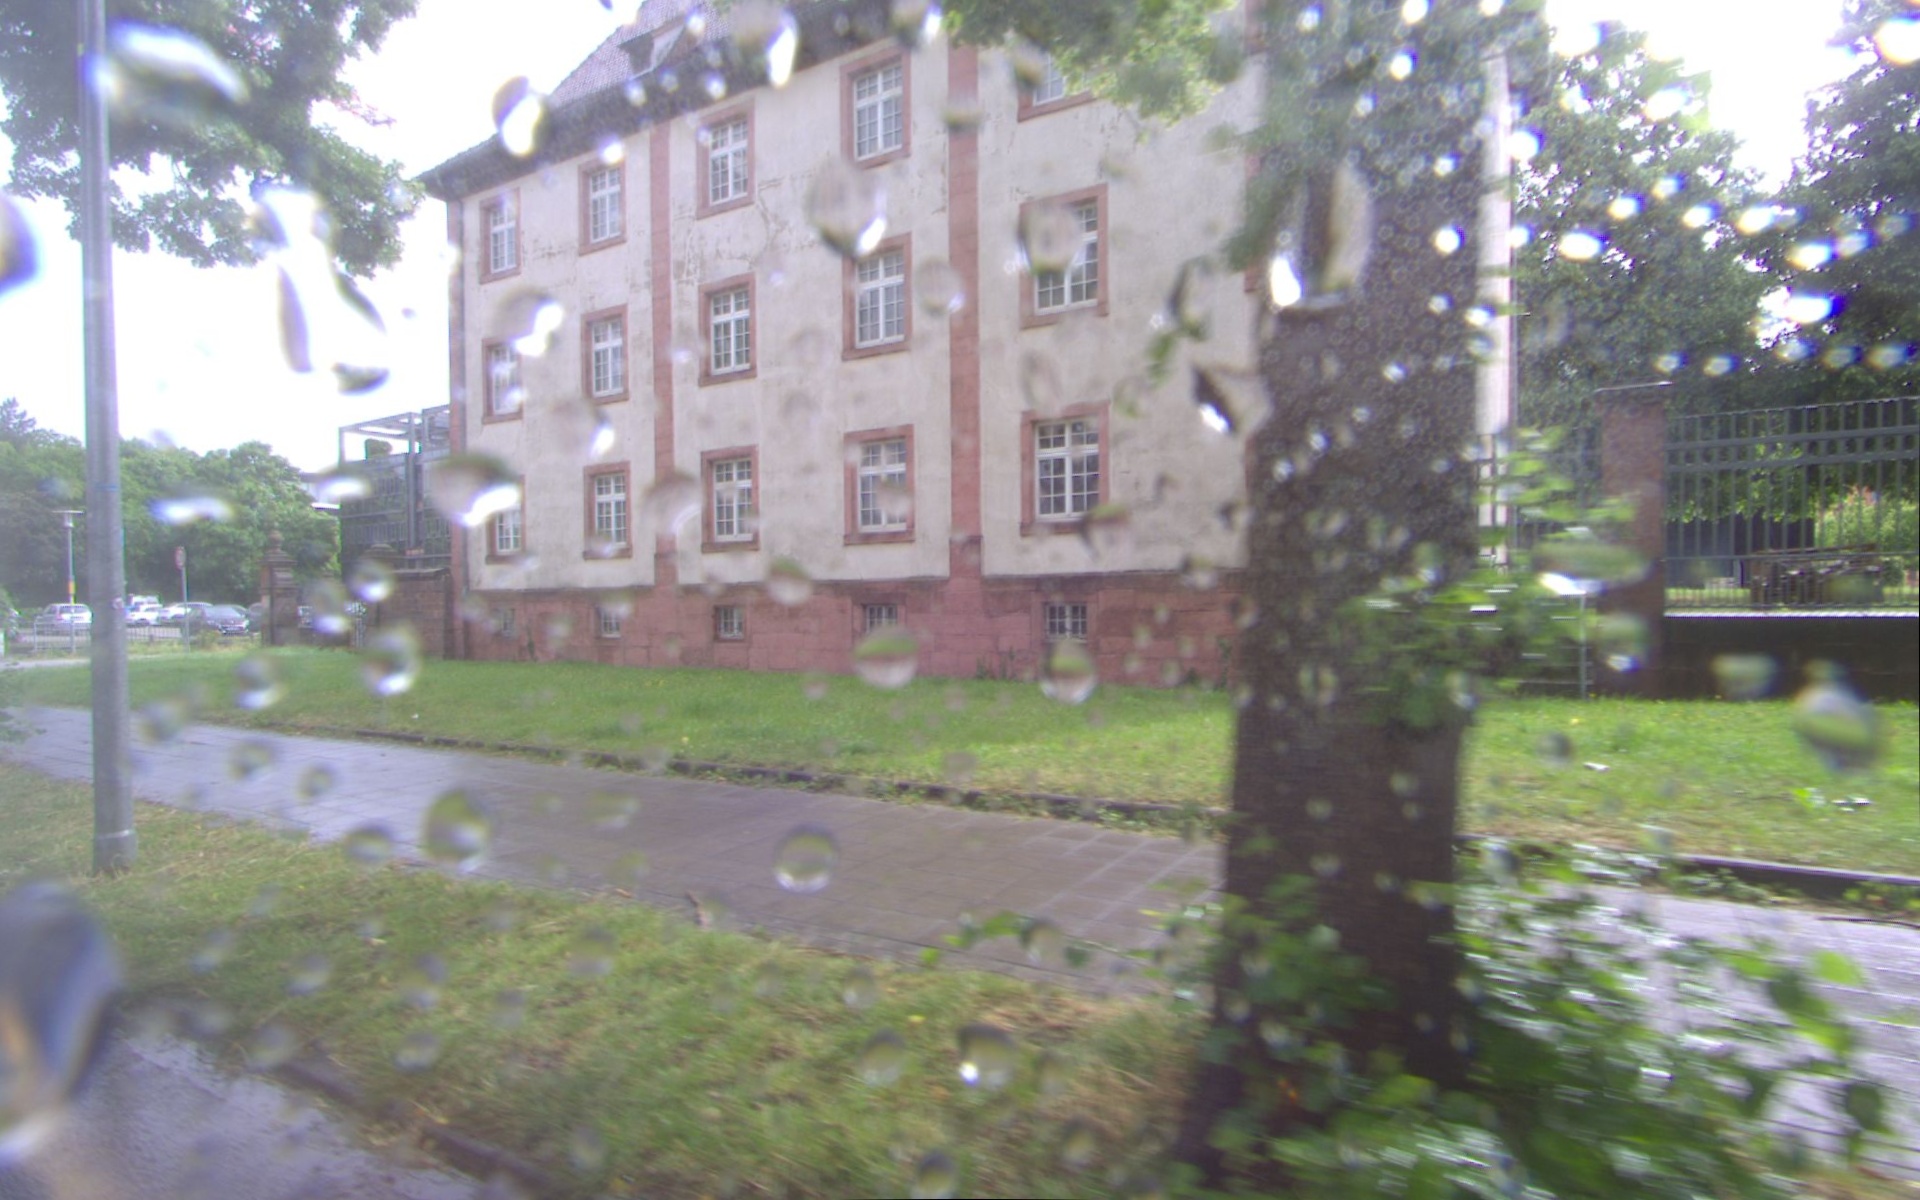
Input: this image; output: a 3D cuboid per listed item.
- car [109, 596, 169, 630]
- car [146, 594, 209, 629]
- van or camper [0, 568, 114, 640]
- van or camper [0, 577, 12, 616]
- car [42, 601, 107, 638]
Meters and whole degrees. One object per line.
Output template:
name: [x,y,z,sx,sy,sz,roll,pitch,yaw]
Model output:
car: [-52.982,0.822,64.627,3.948,2.041,1.985,0,3,36]
car: [-48.406,0.706,61.905,3.948,2.041,1.985,0,3,36]
van or camper: [-35.700,0.158,37.993,2.136,2.630,5.023,0,1,31]
van or camper: [-49.652,-0.196,48.644,2.101,1.951,4.864,1,0,33]
car: [-44.098,0.948,49.853,3.822,1.707,1.734,0,3,39]
